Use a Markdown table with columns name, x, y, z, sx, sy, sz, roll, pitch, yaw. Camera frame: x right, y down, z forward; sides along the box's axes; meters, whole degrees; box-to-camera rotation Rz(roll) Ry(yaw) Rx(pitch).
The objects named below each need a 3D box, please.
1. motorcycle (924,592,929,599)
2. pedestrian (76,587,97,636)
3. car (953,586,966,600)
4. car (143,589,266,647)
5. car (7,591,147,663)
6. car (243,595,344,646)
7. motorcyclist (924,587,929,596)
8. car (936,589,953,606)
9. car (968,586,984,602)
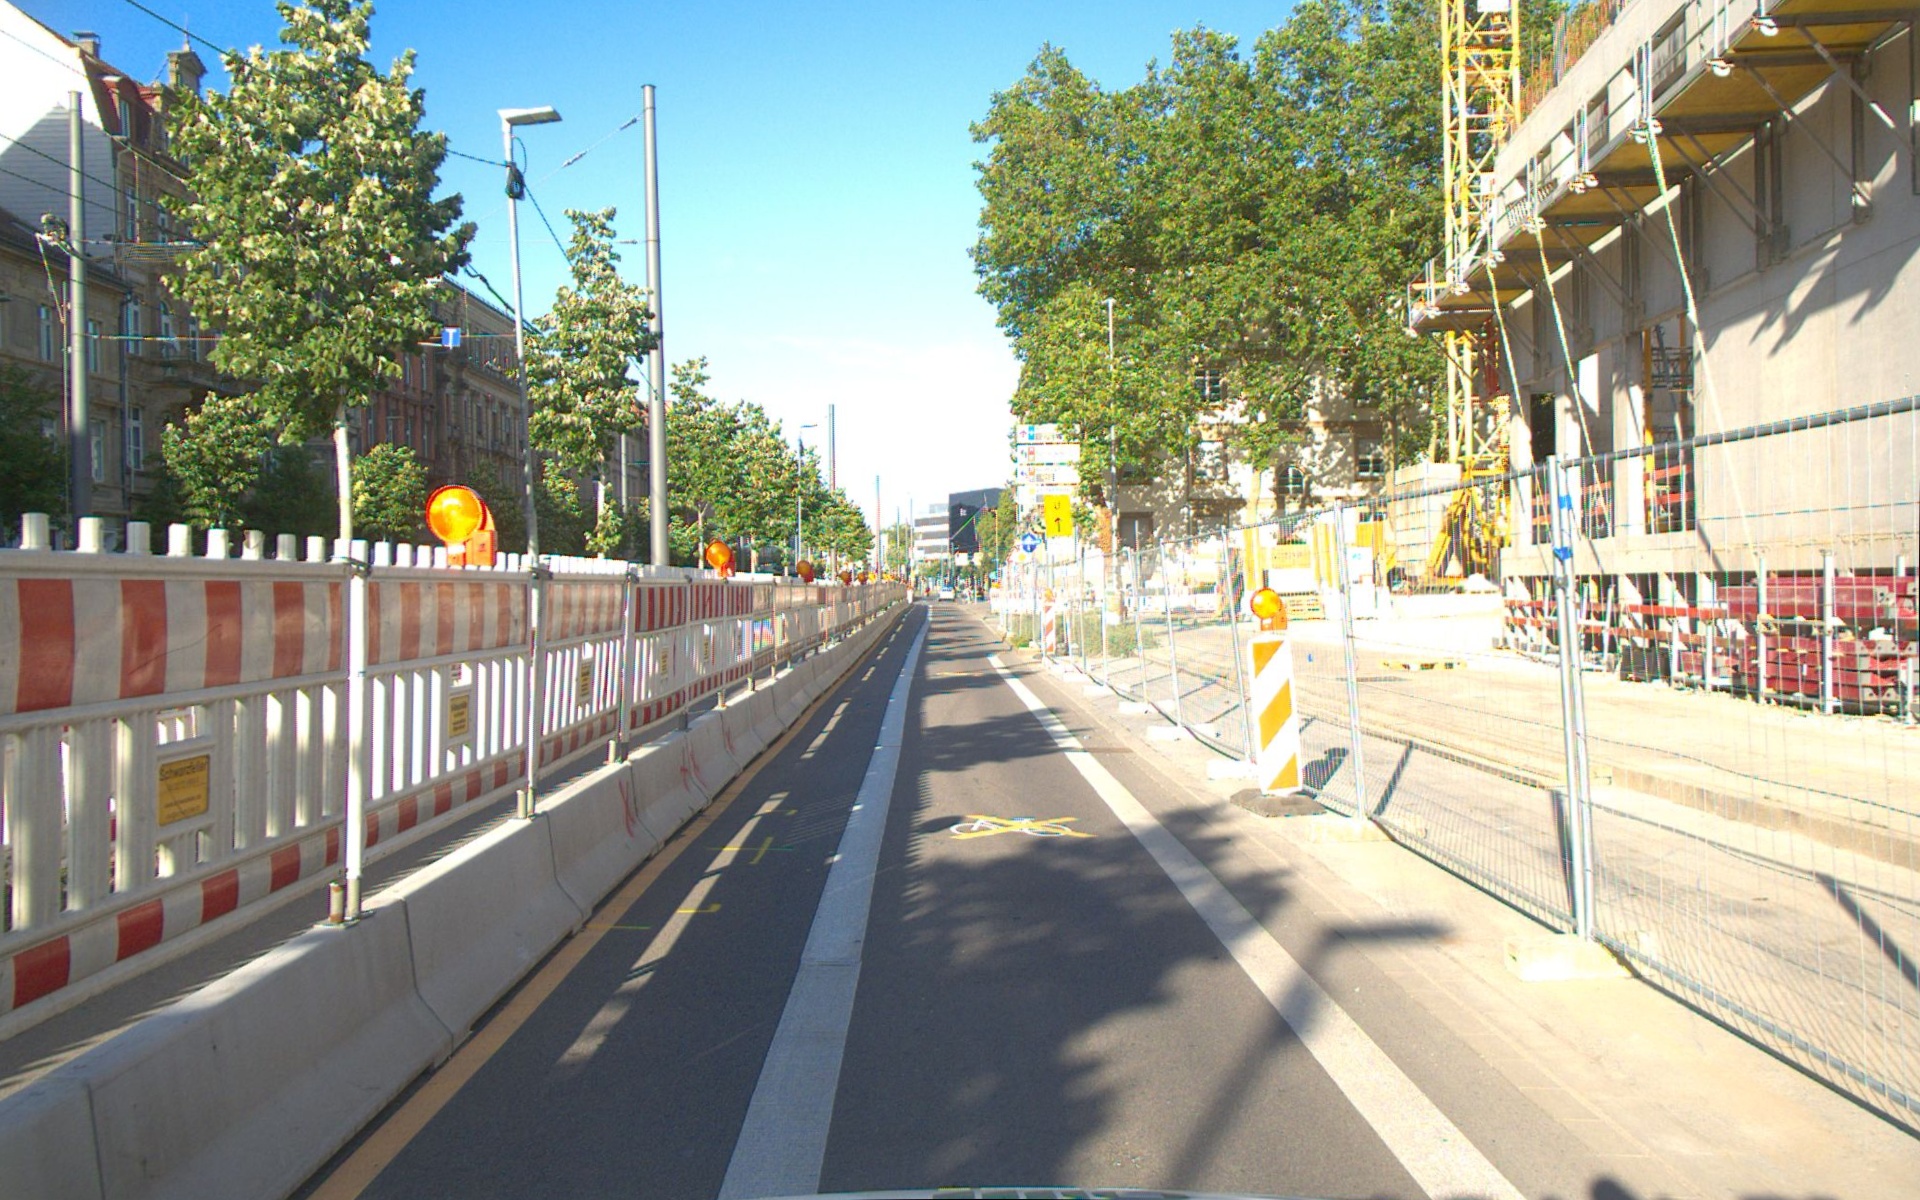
| name | x | y | z | sx | sy | sz | roll | pitch | yaw |
| --- | --- | --- | --- | --- | --- | --- | --- | --- | --- |
| motorcycle | -4.624 | -0.651 | 229.415 | 0.618 | 0.912 | 1.620 | -1 | 1 | -1 |
| pedestrian | -28.061 | 0.358 | 53.142 | 0.397 | 1.561 | 0.435 | 1 | 0 | -1 |
| car | -0.068 | -1.006 | 234.342 | 1.845 | 1.875 | 3.667 | -1 | 1 | -1 |
| car | -22.479 | 0.505 | 49.394 | 1.534 | 1.590 | 4.714 | -1 | 1 | -1 |
| car | -22.460 | 0.644 | 42.238 | 1.534 | 1.704 | 3.808 | -1 | 1 | -1 |
| car | -22.435 | 0.646 | 55.841 | 1.534 | 1.590 | 4.713 | -1 | 1 | -1 |
| motorcyclist | -4.634 | -1.182 | 229.453 | 0.618 | 1.285 | 0.605 | -1 | 0 | -1 |
| car | -1.740 | -0.277 | 186.261 | 1.845 | 1.875 | 3.667 | -1 | 1 | -1 |
| car | 1.944 | -0.709 | 203.844 | 1.845 | 1.875 | 3.667 | -1 | 1 | -1 |
